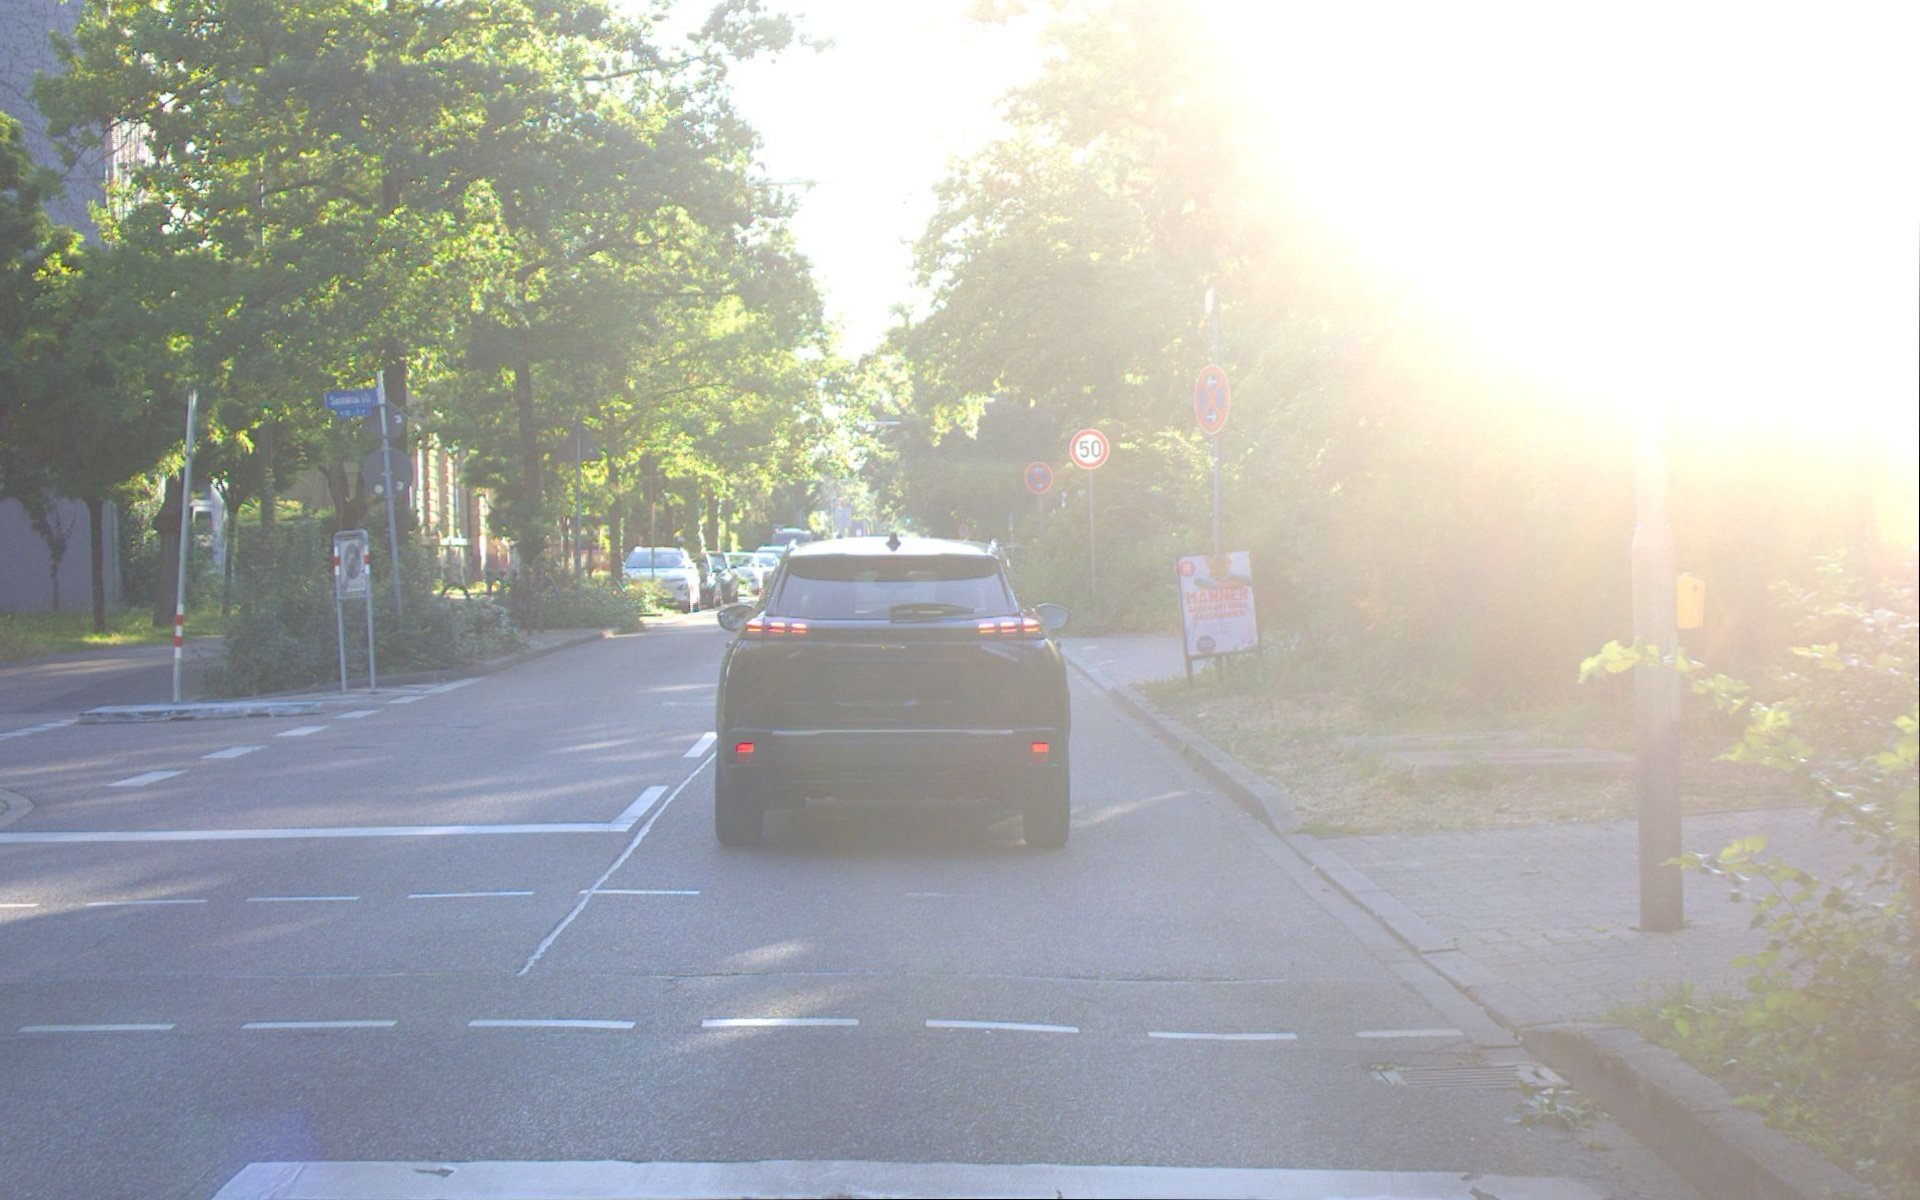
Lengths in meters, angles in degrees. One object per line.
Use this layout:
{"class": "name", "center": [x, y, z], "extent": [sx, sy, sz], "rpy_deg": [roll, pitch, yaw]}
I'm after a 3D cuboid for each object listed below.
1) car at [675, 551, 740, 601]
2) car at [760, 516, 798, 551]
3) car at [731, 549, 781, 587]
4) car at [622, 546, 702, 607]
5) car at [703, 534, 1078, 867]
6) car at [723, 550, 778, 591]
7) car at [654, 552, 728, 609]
{"class": "car", "center": [-7.309, -0.714, 99.350], "extent": [1.810, 1.349, 4.001], "rpy_deg": [-2, 1, -4]}
{"class": "car", "center": [-9.833, -3.607, 186.924], "extent": [1.907, 1.861, 3.949], "rpy_deg": [0, 1, -1]}
{"class": "car", "center": [-7.857, -1.238, 131.917], "extent": [1.810, 1.349, 4.001], "rpy_deg": [-2, 1, -4]}
{"class": "car", "center": [-7.110, -0.578, 81.775], "extent": [1.810, 1.349, 4.001], "rpy_deg": [-2, 1, -6]}
{"class": "car", "center": [-0.360, 0.447, 18.008], "extent": [1.768, 1.563, 3.381], "rpy_deg": [0, 1, -1]}
{"class": "car", "center": [-7.434, -1.065, 121.777], "extent": [1.810, 1.349, 3.980], "rpy_deg": [-2, 1, -4]}
{"class": "car", "center": [-6.888, -0.523, 88.024], "extent": [1.810, 1.349, 4.001], "rpy_deg": [-2, 1, -4]}
